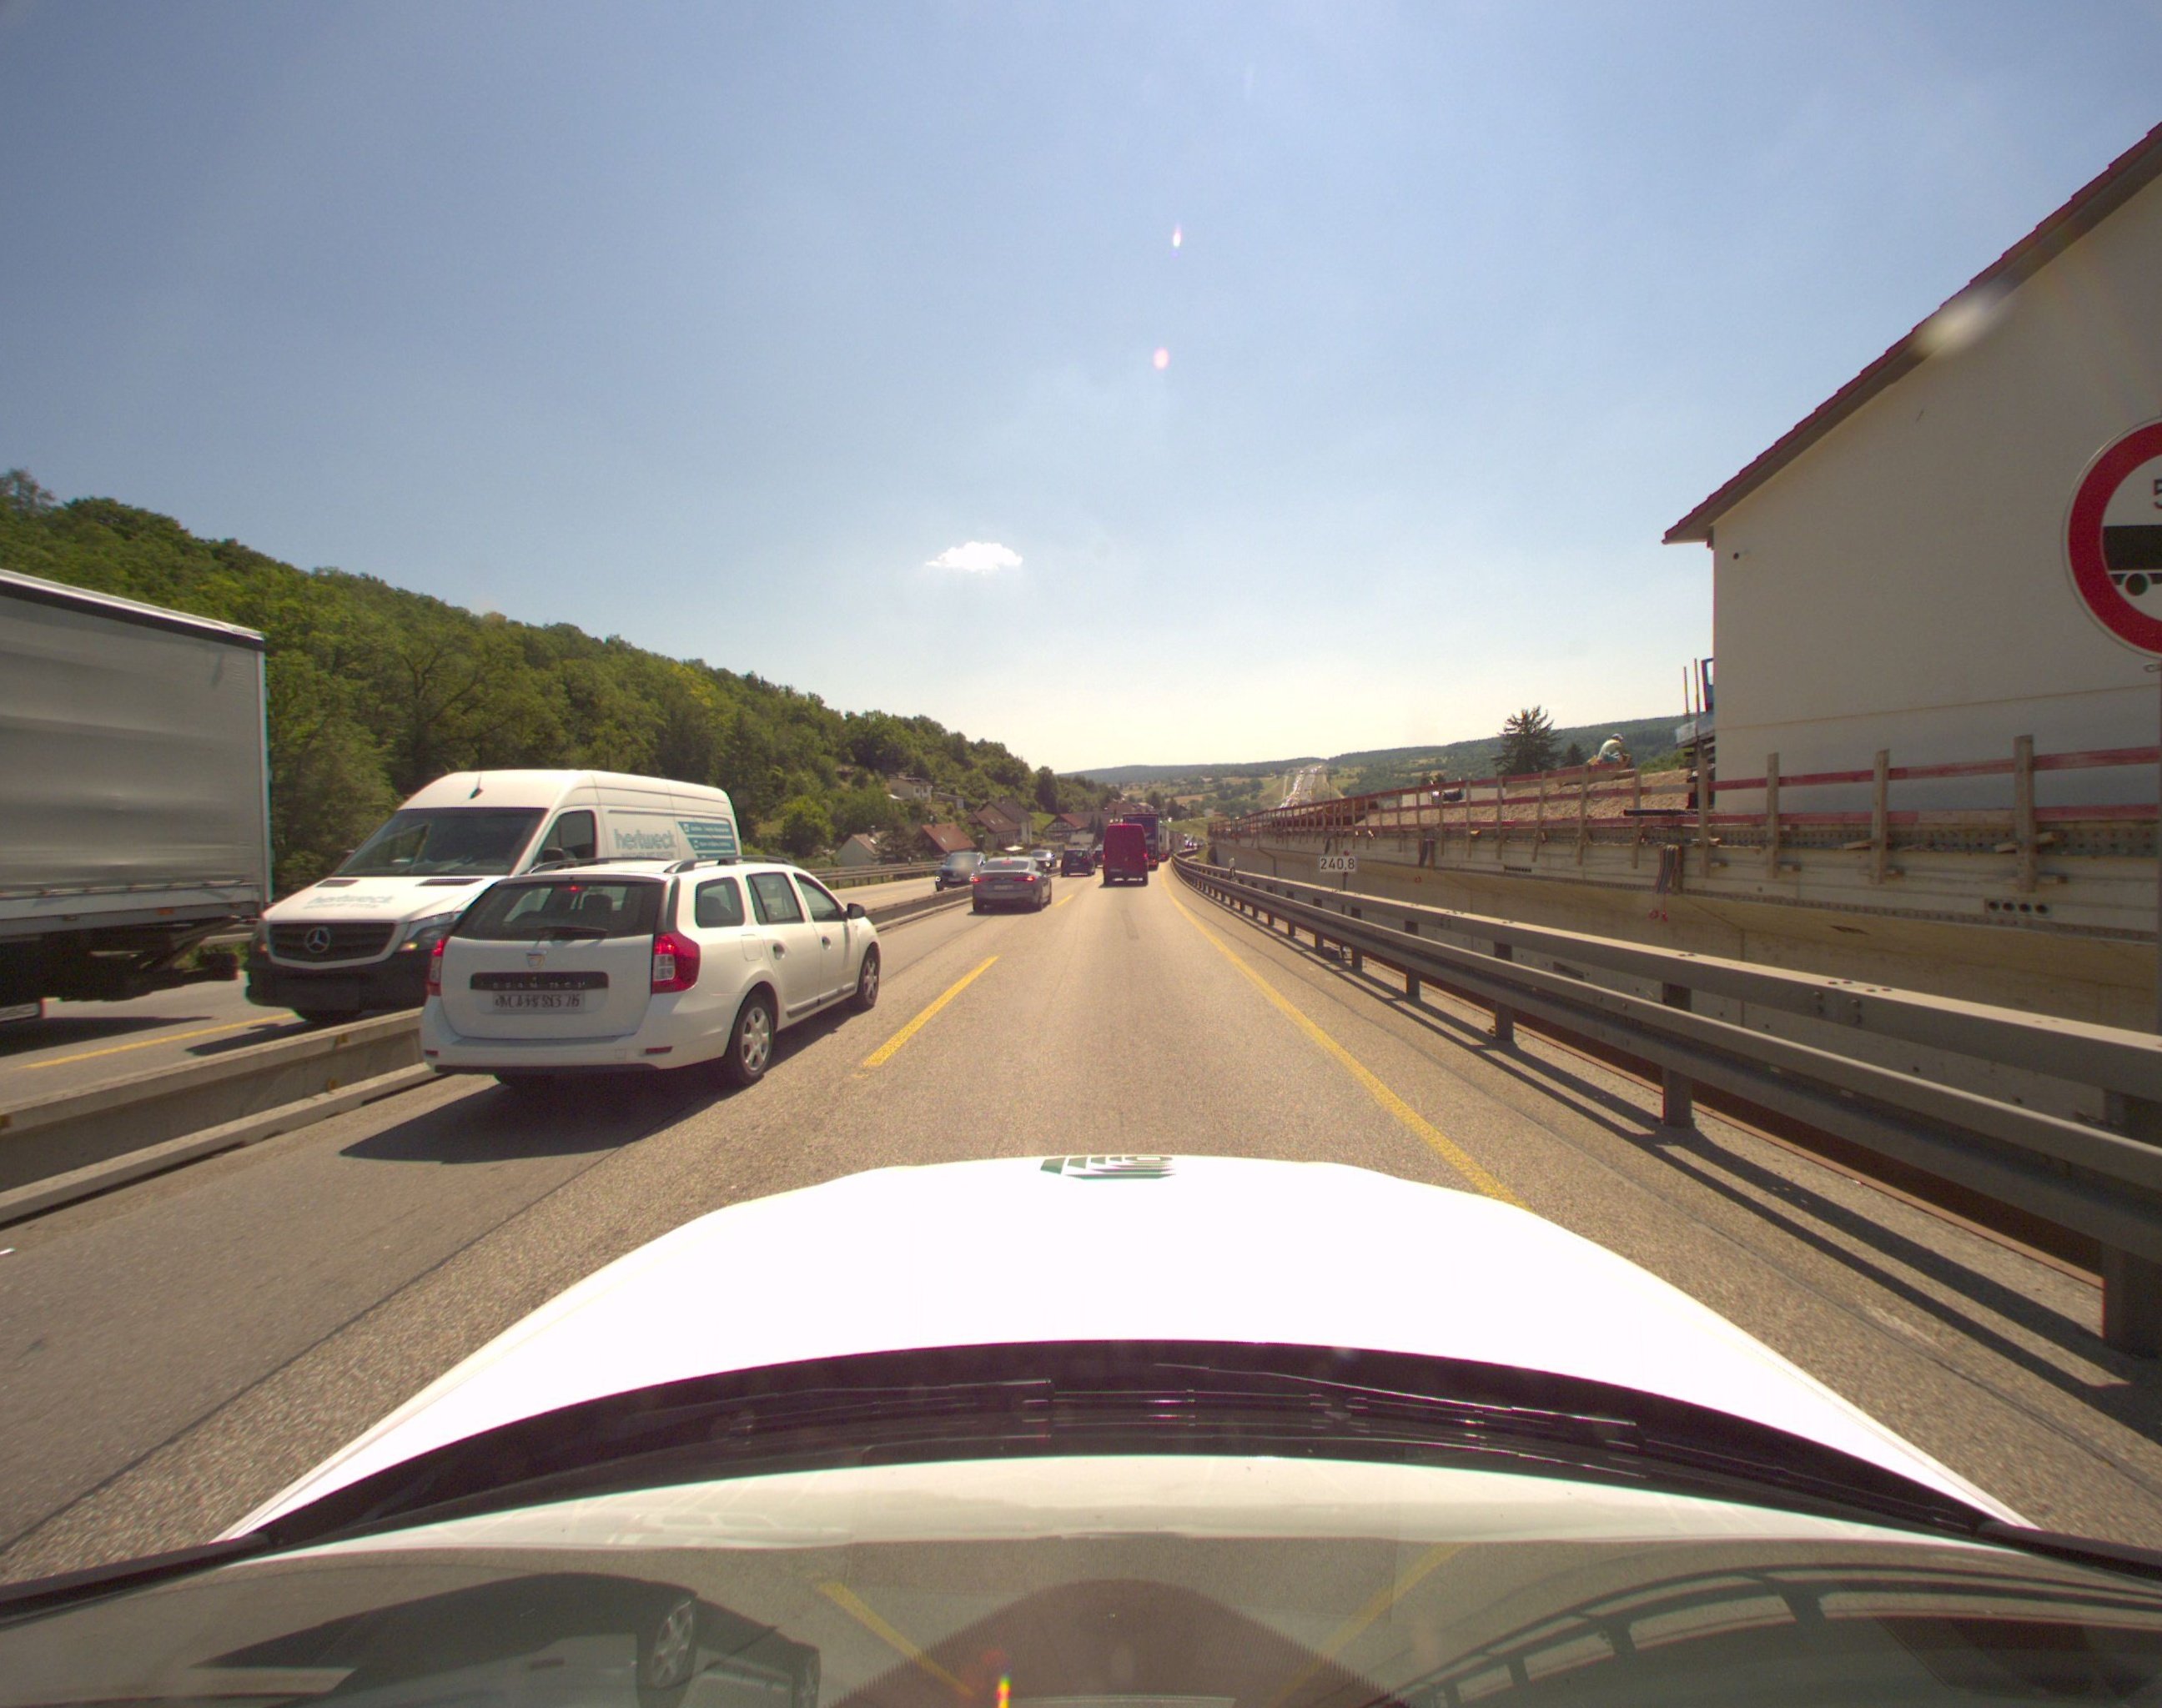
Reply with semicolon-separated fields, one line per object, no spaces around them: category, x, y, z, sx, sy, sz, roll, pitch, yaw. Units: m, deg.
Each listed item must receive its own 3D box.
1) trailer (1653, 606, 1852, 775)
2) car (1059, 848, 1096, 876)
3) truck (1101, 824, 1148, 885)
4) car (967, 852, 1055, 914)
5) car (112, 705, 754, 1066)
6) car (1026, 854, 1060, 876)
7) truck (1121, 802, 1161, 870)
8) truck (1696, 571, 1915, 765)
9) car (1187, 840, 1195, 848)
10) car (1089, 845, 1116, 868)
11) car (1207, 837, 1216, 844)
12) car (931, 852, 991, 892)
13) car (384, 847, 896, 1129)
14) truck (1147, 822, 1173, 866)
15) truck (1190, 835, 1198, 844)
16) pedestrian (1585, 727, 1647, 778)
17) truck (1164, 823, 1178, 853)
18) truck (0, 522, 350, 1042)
trailer;19.923;-4.502;24.848;2.686;3.693;9.051;-1;3;26
car;-0.168;0.491;48.409;1.801;1.608;3.724;0;-1;5
truck;1.982;0.042;36.416;1.985;2.578;4.004;0;-1;4
car;-1.815;0.717;22.213;1.787;1.485;4.053;-1;0;3
car;-6.231;0.260;9.460;1.962;2.680;6.663;-1;-1;2
car;-2.769;0.784;60.274;1.903;1.486;4.483;0;0;4
truck;4.681;-1.252;62.925;2.773;4.816;9.697;0;-1;5
truck;17.785;-4.290;20.474;2.686;3.693;5.746;-1;3;26
car;28.098;-2.646;208.231;1.791;2.013;4.014;0;1;13
car;1.811;0.185;67.167;1.720;1.838;4.009;0;-1;8
car;36.312;-3.728;226.380;2.117;2.014;4.013;-1;-1;12
car;-4.879;0.723;33.529;1.723;1.551;4.037;0;-1;2
car;-2.925;0.755;6.625;1.645;1.483;4.269;-3;0;2
truck;9.043;-1.037;93.437;2.773;4.816;9.697;0;-1;5
truck;20.281;-2.597;146.391;1.306;1.542;3.159;-1;-1;9
pedestrian;13.734;-2.596;20.948;1.014;1.151;0.997;-1;-1;9
truck;13.727;-2.427;123.797;1.982;4.381;4.009;-1;-1;8
truck;-9.811;-0.567;3.870;2.789;4.000;10.559;0;-1;2
